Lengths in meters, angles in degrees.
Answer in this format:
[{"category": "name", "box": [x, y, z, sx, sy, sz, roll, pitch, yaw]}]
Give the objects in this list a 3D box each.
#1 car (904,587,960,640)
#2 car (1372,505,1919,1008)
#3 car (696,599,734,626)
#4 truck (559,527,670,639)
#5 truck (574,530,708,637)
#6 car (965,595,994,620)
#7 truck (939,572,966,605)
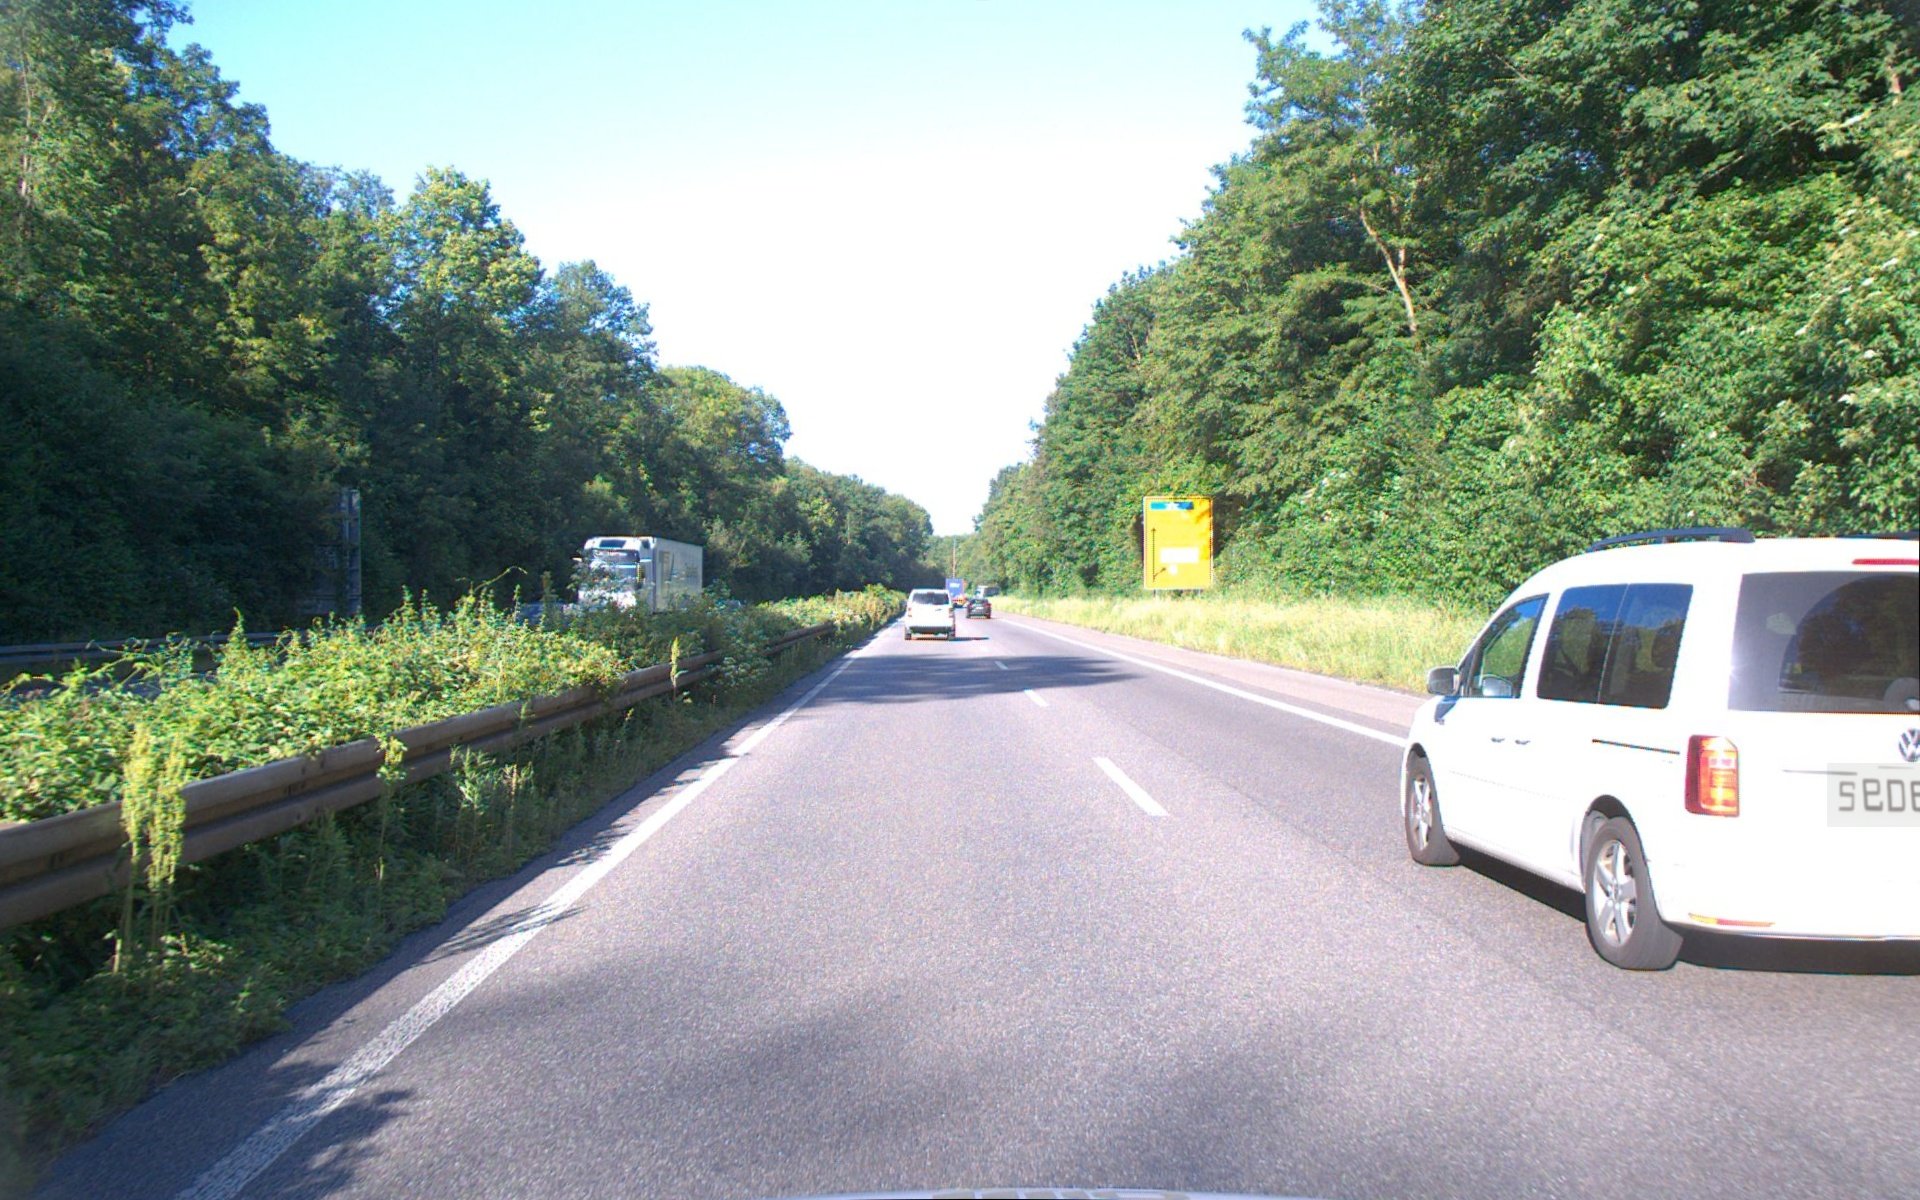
[{"category": "car", "box": [-1.034, 0.487, 60.219, 1.912, 1.813, 4.586, 1, 0, -2]}, {"category": "car", "box": [3.613, 0.603, 8.428, 1.762, 1.844, 4.586, 1, 0, -2]}, {"category": "car", "box": [-14.247, 0.712, 96.329, 1.728, 1.499, 3.791, 1, 0, -1]}, {"category": "truck", "box": [-13.334, -0.645, 64.274, 3.163, 4.083, 5.675, 1, 0, -1]}, {"category": "truck", "box": [-13.470, -0.666, 71.326, 3.178, 4.083, 14.447, 1, 0, -1]}, {"category": "car", "box": [1.398, 0.560, 121.321, 1.912, 1.813, 4.586, 1, 0, -2]}, {"category": "truck", "box": [-1.100, -1.586, 233.082, 3.658, 4.419, 9.302, 1, 0, -1]}]
